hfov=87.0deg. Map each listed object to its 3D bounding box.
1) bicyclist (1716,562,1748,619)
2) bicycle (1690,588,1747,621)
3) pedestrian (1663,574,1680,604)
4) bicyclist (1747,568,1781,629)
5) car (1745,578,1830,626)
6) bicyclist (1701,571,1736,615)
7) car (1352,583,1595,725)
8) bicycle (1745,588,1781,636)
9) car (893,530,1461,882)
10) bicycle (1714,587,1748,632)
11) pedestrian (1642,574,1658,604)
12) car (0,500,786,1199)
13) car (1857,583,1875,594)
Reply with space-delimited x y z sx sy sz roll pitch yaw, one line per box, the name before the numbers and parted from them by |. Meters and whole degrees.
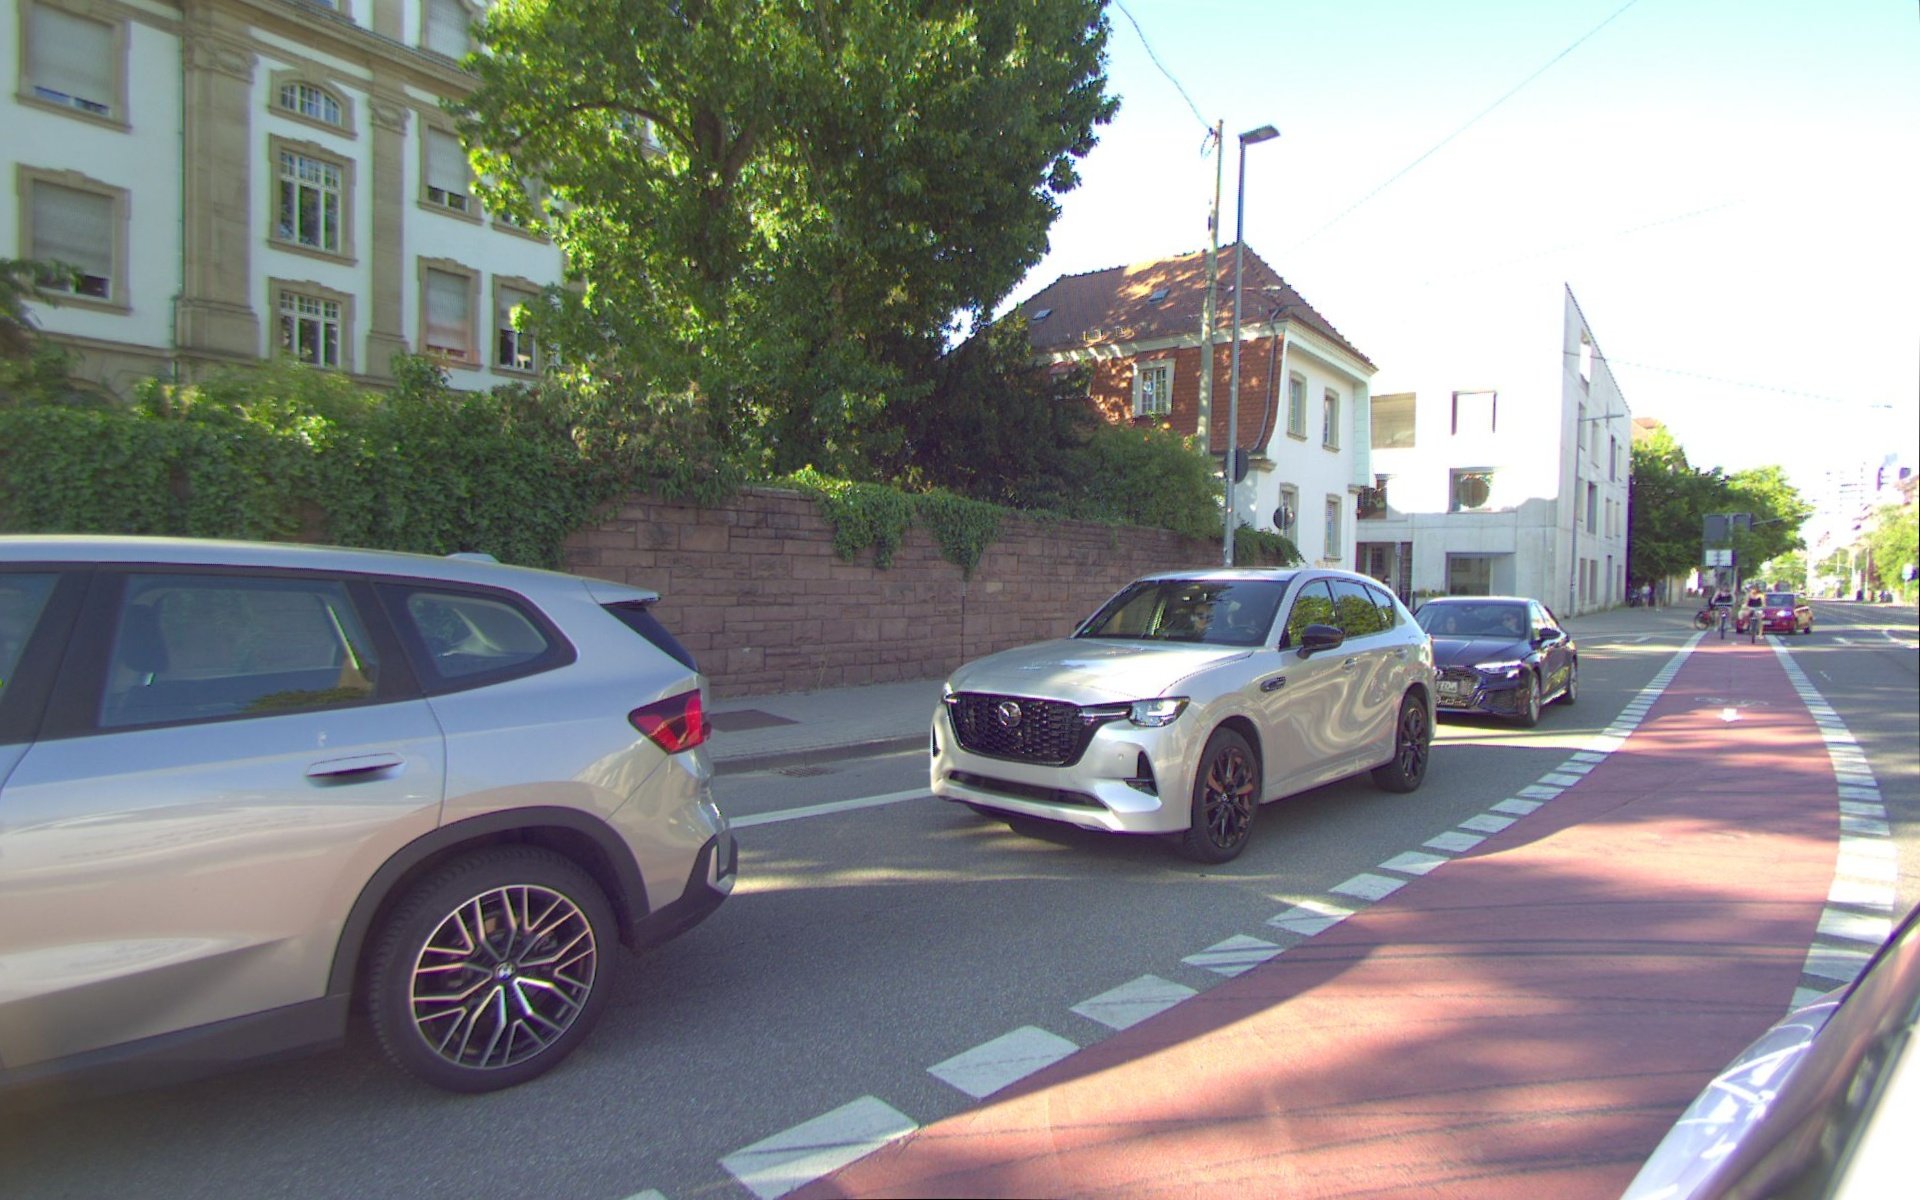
bicyclist | 23.045 -0.291 30.195 0.673 1.667 1.014 2 2 40
bicycle | 29.830 0.179 39.804 2.406 1.266 0.678 0 2 -25
pedestrian | 40.096 -0.623 57.043 0.673 1.668 0.806 1 1 40
bicyclist | 22.364 -0.058 28.154 0.673 1.667 1.014 2 2 40
car | 28.633 0.054 35.006 3.585 1.580 1.648 -1 0 -40
bicyclist | 29.821 -0.274 39.788 1.008 1.667 0.677 0 2 -25
car | 6.413 0.525 12.436 1.782 1.451 3.941 0 1 41
bicycle | 22.344 0.309 28.145 0.673 1.265 2.421 2 2 40
car | 1.811 0.490 7.225 1.940 1.713 4.460 0 0 44
bicycle | 23.049 0.269 30.225 0.673 1.265 2.421 2 2 40
pedestrian | 39.381 -0.626 57.770 0.673 1.668 0.806 1 1 40
car | -2.831 0.576 2.954 4.248 1.614 1.792 0 0 -36
car | 138.218 -1.732 154.367 1.640 1.580 3.602 0 0 36
